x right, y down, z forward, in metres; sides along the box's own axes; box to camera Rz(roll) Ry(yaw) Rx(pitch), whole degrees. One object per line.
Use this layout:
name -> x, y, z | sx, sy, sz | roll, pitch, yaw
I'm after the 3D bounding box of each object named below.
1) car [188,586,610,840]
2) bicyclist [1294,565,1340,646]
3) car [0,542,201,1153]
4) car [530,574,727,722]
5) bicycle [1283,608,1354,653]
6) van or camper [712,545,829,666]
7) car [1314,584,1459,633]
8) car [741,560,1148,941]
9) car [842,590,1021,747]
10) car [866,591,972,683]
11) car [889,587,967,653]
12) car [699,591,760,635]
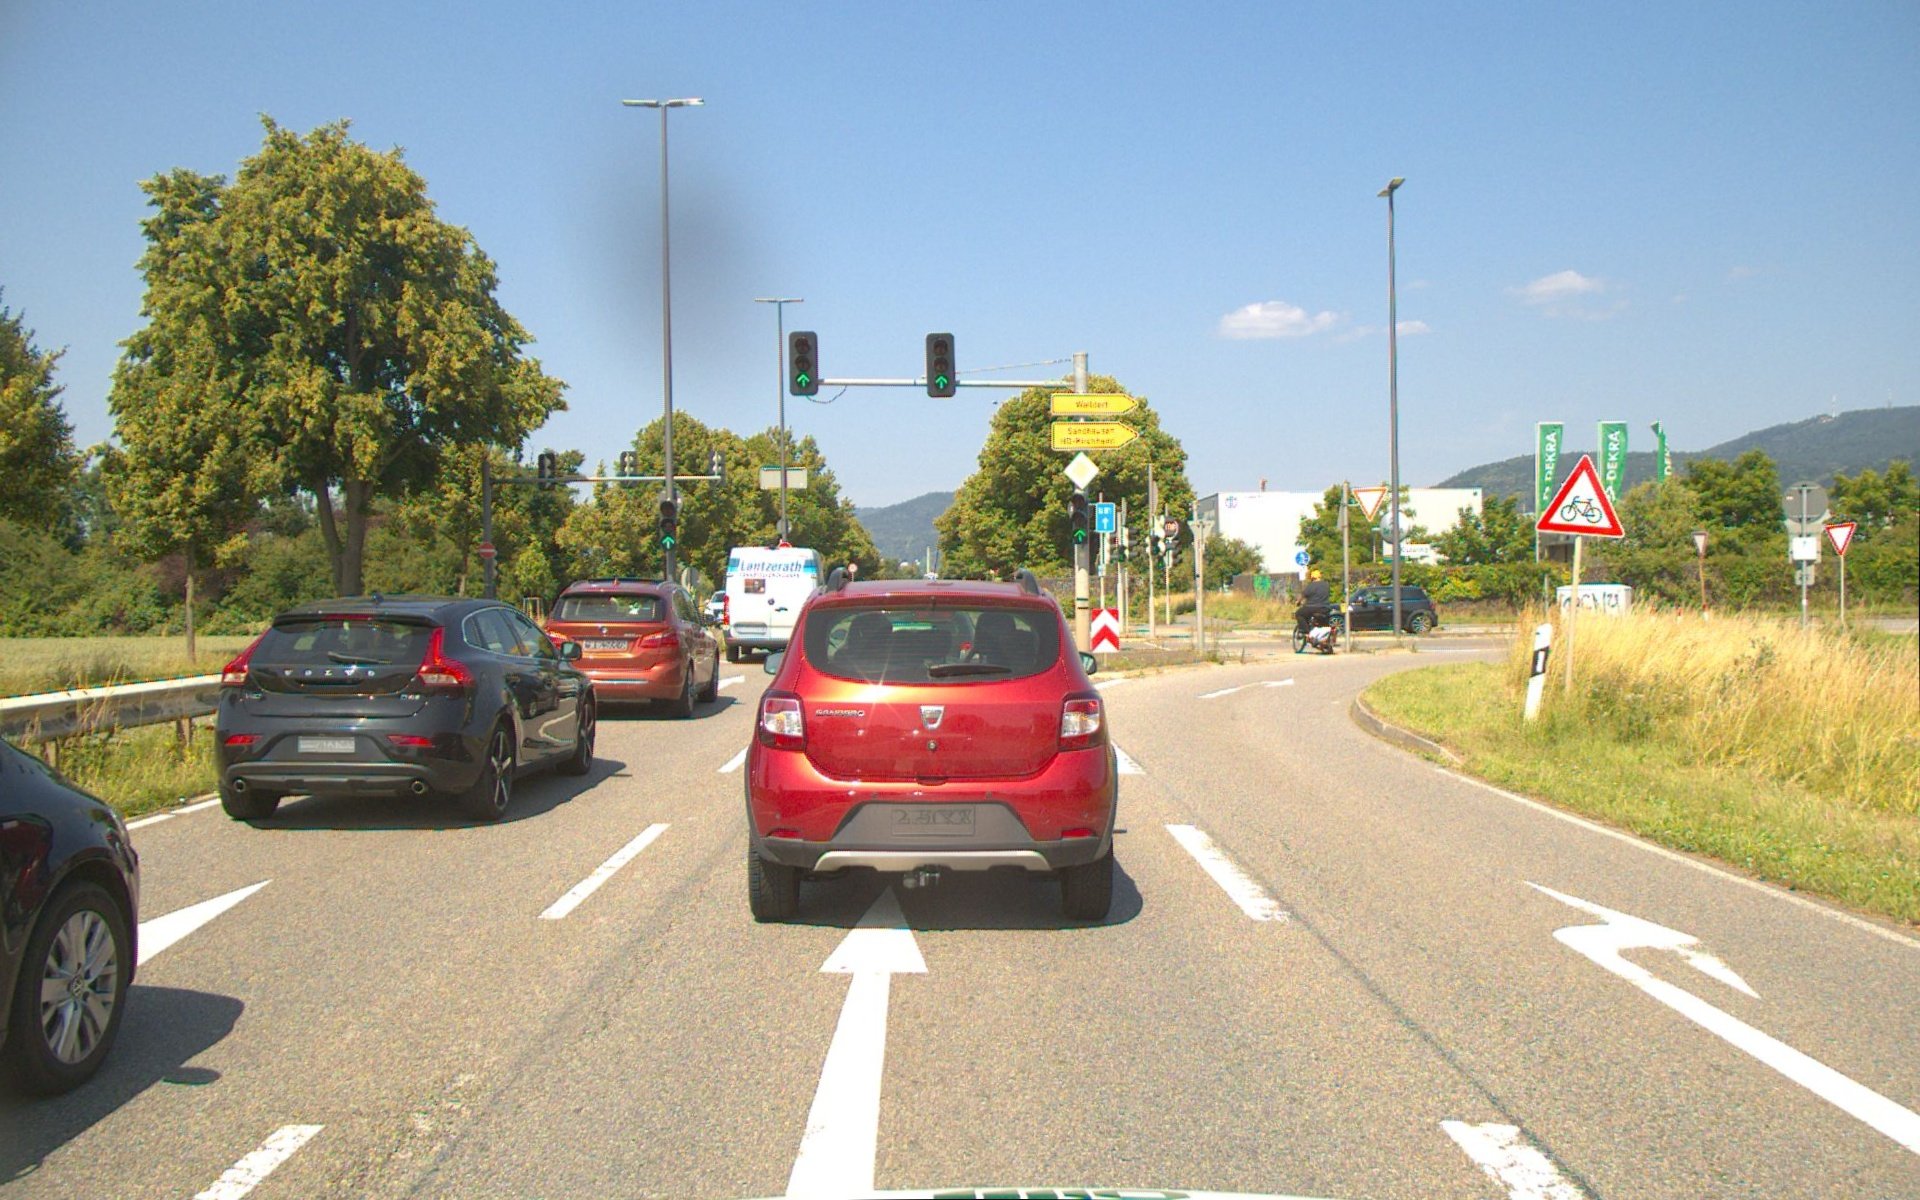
car -> -3.743, 0.653, 11.789 | 1.667, 1.467, 3.955 | 1, 1, 0
bicyclist -> 8.076, 0.125, 37.401 | 0.786, 1.802, 0.808 | -1, 0, -6
car -> -3.354, 0.652, 3.526 | 1.688, 1.603, 3.892 | 0, 1, 0
car -> -3.948, 0.510, 20.290 | 1.689, 1.628, 3.954 | 0, 0, -1
bicycle -> 8.095, 0.675, 37.453 | 0.747, 0.931, 2.776 | -1, 1, -6
van or camper -> -3.893, 0.092, 34.790 | 2.136, 2.343, 4.823 | 1, 0, -3
car -> 12.572, 0.254, 48.959 | 3.902, 1.350, 1.807 | -1, 0, 6
car -> -0.043, 0.625, 8.832 | 1.713, 1.603, 3.677 | 0, 0, 1
car -> -0.249, 0.639, 17.609 | 1.713, 1.483, 3.677 | 0, 1, 1
car -> -0.649, 0.597, 28.795 | 1.713, 1.483, 3.677 | 0, 1, 1
car -> -0.717, 0.429, 38.888 | 1.713, 1.483, 3.677 | 0, 1, 1
car -> -9.322, 0.494, 67.108 | 1.953, 1.699, 3.999 | -1, 1, -2
